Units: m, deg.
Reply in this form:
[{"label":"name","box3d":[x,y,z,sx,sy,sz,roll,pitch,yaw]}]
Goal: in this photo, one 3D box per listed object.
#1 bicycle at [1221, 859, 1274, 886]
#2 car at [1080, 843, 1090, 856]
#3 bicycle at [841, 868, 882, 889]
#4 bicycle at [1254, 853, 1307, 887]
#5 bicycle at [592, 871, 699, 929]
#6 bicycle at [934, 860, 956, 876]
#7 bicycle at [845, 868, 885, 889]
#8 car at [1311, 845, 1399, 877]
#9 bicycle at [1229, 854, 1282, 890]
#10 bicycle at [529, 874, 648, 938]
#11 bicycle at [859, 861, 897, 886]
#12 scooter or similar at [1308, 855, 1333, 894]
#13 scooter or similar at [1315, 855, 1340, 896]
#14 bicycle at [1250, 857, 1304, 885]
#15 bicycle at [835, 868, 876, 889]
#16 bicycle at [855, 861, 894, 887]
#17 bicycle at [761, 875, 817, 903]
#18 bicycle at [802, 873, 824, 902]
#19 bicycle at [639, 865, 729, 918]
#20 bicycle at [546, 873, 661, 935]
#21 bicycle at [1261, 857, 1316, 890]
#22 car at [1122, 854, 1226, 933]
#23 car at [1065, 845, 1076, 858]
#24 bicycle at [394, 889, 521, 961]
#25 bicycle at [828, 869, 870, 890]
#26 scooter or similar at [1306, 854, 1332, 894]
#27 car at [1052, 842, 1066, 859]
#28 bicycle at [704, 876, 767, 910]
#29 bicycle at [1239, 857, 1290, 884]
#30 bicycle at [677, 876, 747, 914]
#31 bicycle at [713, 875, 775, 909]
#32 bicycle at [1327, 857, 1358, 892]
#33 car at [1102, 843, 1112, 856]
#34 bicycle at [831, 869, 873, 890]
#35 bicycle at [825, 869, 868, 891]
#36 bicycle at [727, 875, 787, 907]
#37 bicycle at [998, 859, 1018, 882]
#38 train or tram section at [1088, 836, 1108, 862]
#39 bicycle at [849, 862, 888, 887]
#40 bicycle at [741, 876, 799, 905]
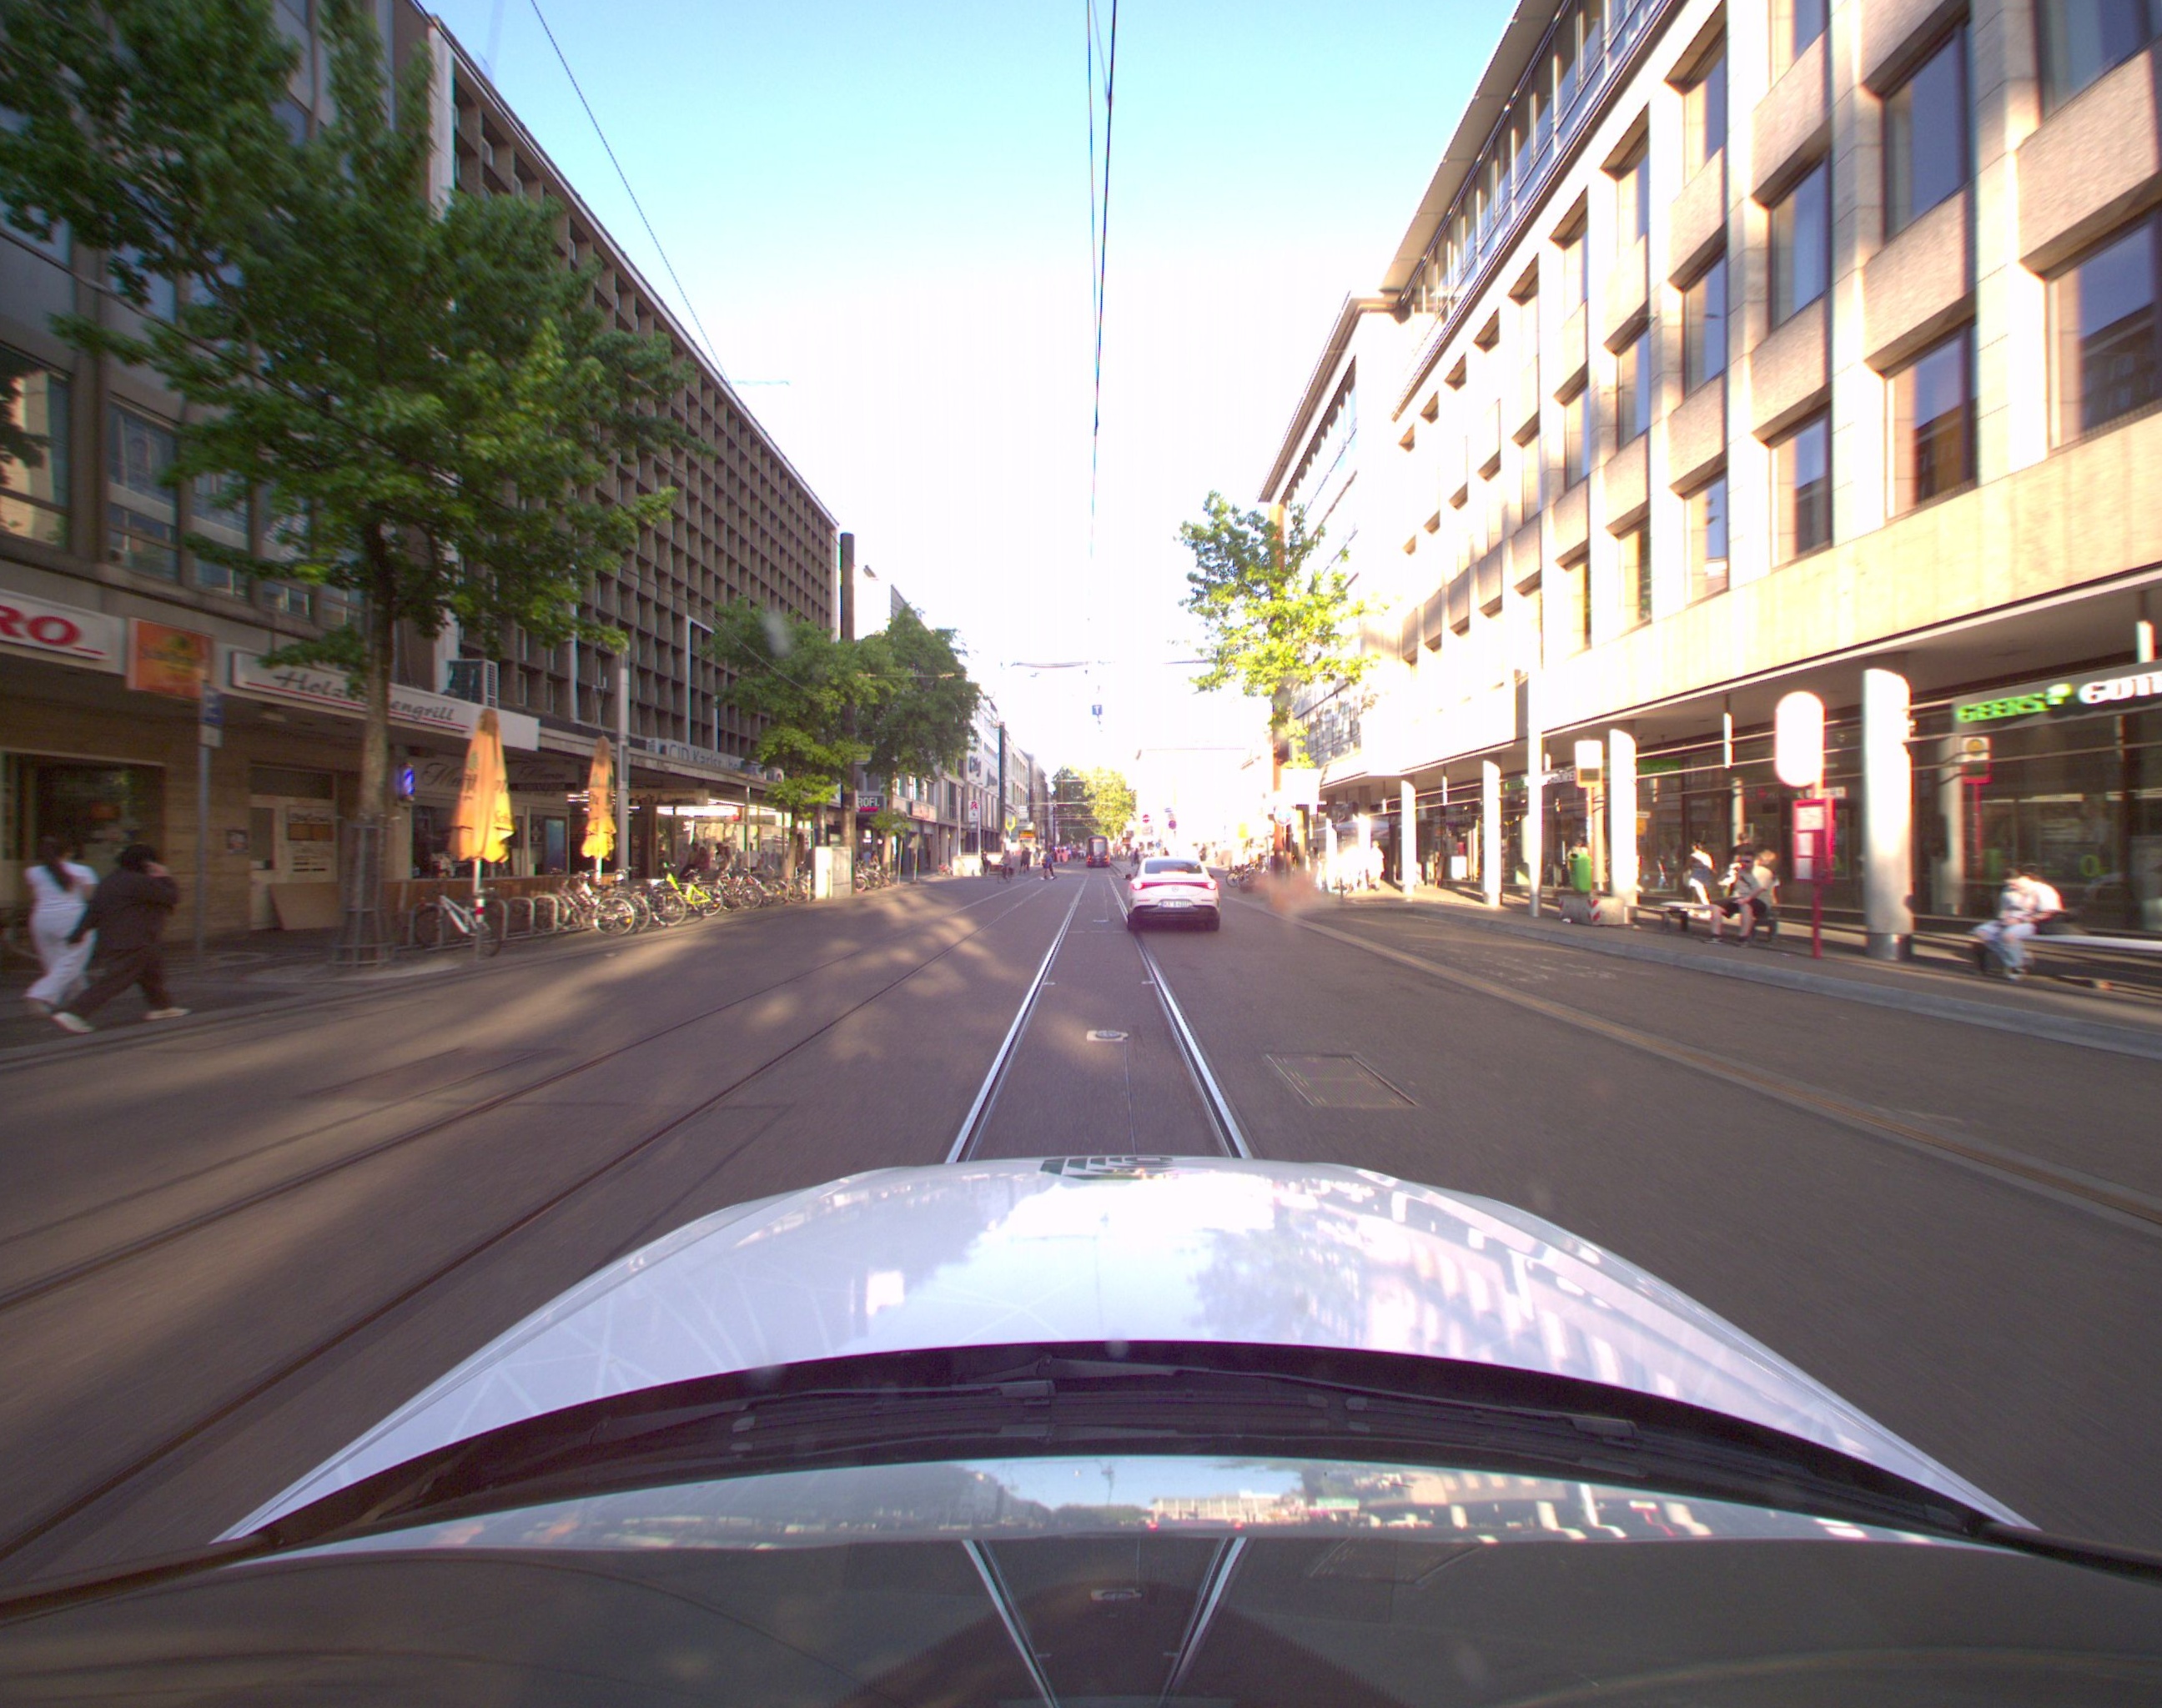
[{"label":"bicycle","box3d":[7.079,0.783,34.631,2.114,1.096,0.608,0,0,-10]},{"label":"car","box3d":[1.001,-1.032,193.605,2.091,2.897,5.277,-1,0,2]},{"label":"bicycle","box3d":[-8.562,0.963,31.734,1.487,0.783,0.345,1,0,2]},{"label":"bicycle","box3d":[7.963,0.631,32.542,1.908,1.281,0.608,-2,0,-10]},{"label":"bicycle","box3d":[-8.474,0.892,15.884,1.842,1.077,0.377,1,0,-3]},{"label":"bicycle","box3d":[-9.120,0.910,54.708,0.713,1.010,2.047,-1,0,15]},{"label":"bicycle","box3d":[-8.521,0.955,32.103,1.487,0.783,0.345,1,0,2]},{"label":"car","box3d":[13.674,0.347,40.749,3.794,1.473,1.647,-1,0,-4]},{"label":"bicycle","box3d":[6.770,0.683,31.650,1.908,1.281,0.608,-2,0,-10]},{"label":"bicycle","box3d":[-8.524,0.897,14.131,1.785,1.077,0.377,1,0,-3]},{"label":"bicycle","box3d":[-8.523,0.820,34.248,1.492,1.029,0.343,1,0,-9]},{"label":"scooter or similar","box3d":[8.083,0.671,27.453,0.527,1.277,0.658,-3,0,-10]},{"label":"scooter or similar","box3d":[7.902,0.679,26.134,0.491,1.277,0.658,-3,0,-10]},{"label":"bicycle","box3d":[8.172,0.705,33.952,2.115,1.096,0.607,-1,0,-12]},{"label":"bicycle","box3d":[-8.693,0.958,31.373,1.487,0.783,0.345,1,0,2]},{"label":"bicycle","box3d":[-8.484,0.815,33.500,1.492,1.029,0.343,1,0,-9]},{"label":"bicycle","box3d":[-8.384,1.000,23.378,1.487,0.783,0.345,1,0,2]},{"label":"bicycle","box3d":[-7.984,0.995,24.304,0.343,0.783,1.402,1,0,-6]},{"label":"bicycle","box3d":[-8.930,0.839,18.326,1.839,1.141,0.377,1,0,2]},{"label":"bicycle","box3d":[-8.534,0.888,14.591,1.785,1.077,0.377,1,0,-3]},{"label":"bicycle","box3d":[7.851,0.718,30.809,1.908,1.156,0.608,-2,0,-10]},{"label":"car","box3d":[1.843,0.736,17.239,1.850,1.455,4.177,0,0,2]},{"label":"car","box3d":[-2.139,-0.471,161.584,1.903,2.461,5.277,-1,0,2]},{"label":"bicycle","box3d":[-8.727,0.983,11.405,1.587,0.930,0.378,1,0,7]},{"label":"bicycle","box3d":[-8.725,0.960,30.653,1.487,0.783,0.345,1,0,2]},{"label":"scooter or similar","box3d":[7.832,0.649,26.807,0.527,1.277,0.658,-3,0,-10]},{"label":"car","box3d":[-3.826,-0.635,142.832,1.986,2.897,5.277,-1,0,2]},{"label":"bicycle","box3d":[-8.912,0.990,21.012,1.487,0.841,0.345,1,0,2]},{"label":"bicycle","box3d":[8.152,0.724,36.151,2.114,1.096,0.608,-1,0,-11]},{"label":"bicycle","box3d":[-8.912,0.985,19.669,1.490,0.876,0.344,1,0,-5]},{"label":"bicycle","box3d":[-8.845,0.991,21.398,1.487,0.841,0.345,1,0,2]},{"label":"bicycle","box3d":[9.143,0.703,28.500,0.562,1.127,1.932,-2,0,5]},{"label":"car","box3d":[6.189,-1.065,193.866,2.091,2.897,5.287,-1,0,2]},{"label":"bicycle","box3d":[-8.711,0.960,31.013,1.487,0.783,0.345,1,0,2]},{"label":"bicycle","box3d":[-8.736,0.958,30.298,1.487,0.783,0.345,1,0,2]},{"label":"bicycle","box3d":[-8.754,0.993,22.039,1.487,0.841,0.345,1,0,2]},{"label":"bicycle","box3d":[-3.865,0.868,43.212,0.797,1.142,2.257,1,0,0]},{"label":"train or tram section","box3d":[2.490,-0.695,116.668,2.685,3.516,11.146,-1,0,1]},{"label":"bicycle","box3d":[-8.627,0.825,33.063,1.492,1.009,0.343,1,0,-9]},{"label":"bicycle","box3d":[-8.667,1.009,22.731,1.487,0.783,0.345,1,0,2]}]
